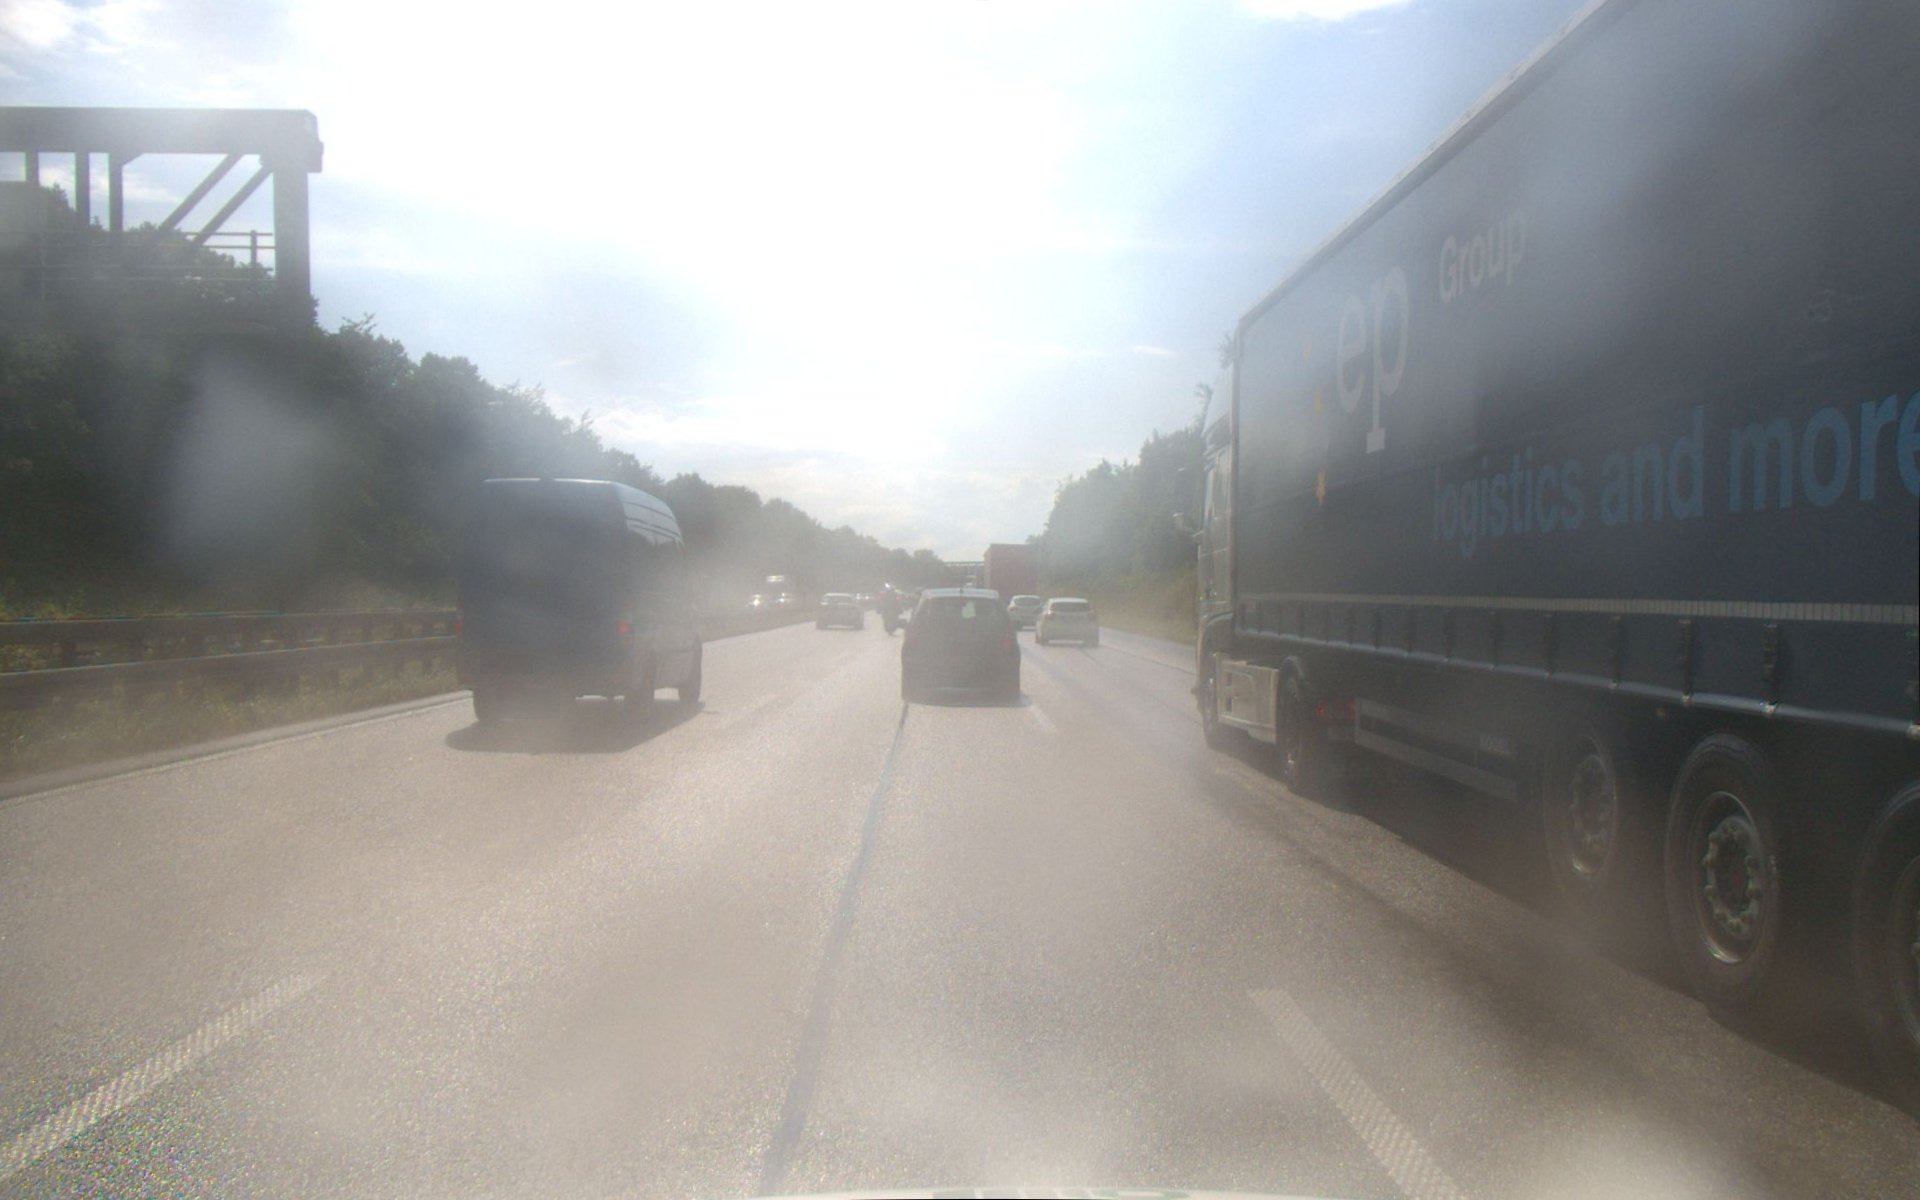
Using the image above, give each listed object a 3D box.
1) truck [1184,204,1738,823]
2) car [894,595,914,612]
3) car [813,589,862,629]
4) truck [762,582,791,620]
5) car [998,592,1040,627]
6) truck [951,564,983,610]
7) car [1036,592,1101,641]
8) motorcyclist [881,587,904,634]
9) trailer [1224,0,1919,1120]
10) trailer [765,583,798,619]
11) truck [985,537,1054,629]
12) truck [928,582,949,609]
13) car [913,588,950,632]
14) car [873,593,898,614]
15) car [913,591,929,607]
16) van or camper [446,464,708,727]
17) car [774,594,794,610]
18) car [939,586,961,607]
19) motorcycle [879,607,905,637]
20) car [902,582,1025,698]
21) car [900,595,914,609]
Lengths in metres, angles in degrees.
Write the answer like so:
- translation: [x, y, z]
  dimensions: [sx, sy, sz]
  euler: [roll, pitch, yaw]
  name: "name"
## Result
- translation: [3.822, -0.565, 14.611]
  dimensions: [2.554, 4.065, 7.289]
  euler: [1, 0, -1]
  name: "truck"
- translation: [-5.030, 0.322, 149.313]
  dimensions: [1.715, 1.482, 3.389]
  euler: [1, 0, -1]
  name: "car"
- translation: [-5.126, 0.376, 69.373]
  dimensions: [1.817, 1.578, 3.484]
  euler: [1, 0, -1]
  name: "car"
- translation: [-22.407, 0.122, 202.542]
  dimensions: [2.805, 4.449, 6.867]
  euler: [1, 0, -1]
  name: "truck"
- translation: [2.553, 0.418, 72.143]
  dimensions: [1.646, 1.467, 3.904]
  euler: [1, 0, -1]
  name: "car"
- translation: [0.784, -1.318, 173.405]
  dimensions: [3.189, 4.558, 12.422]
  euler: [1, 0, 1]
  name: "truck"
- translation: [3.326, 0.491, 51.249]
  dimensions: [1.658, 1.450, 4.219]
  euler: [1, 0, -1]
  name: "car"
- translation: [-2.449, 0.379, 59.894]
  dimensions: [0.785, 1.662, 1.013]
  euler: [1, 0, -1]
  name: "motorcyclist"
- translation: [3.895, -0.579, 8.545]
  dimensions: [2.581, 4.065, 14.061]
  euler: [1, 0, -1]
  name: "trailer"
- translation: [-22.505, 0.135, 209.098]
  dimensions: [2.805, 4.449, 14.089]
  euler: [1, 0, -1]
  name: "trailer"
- translation: [3.274, -0.887, 96.378]
  dimensions: [3.574, 4.803, 16.780]
  euler: [1, 0, 1]
  name: "truck"
- translation: [-2.343, -0.466, 179.931]
  dimensions: [2.147, 2.926, 4.848]
  euler: [1, 0, -1]
  name: "truck"
- translation: [-1.184, 0.400, 68.829]
  dimensions: [1.500, 1.777, 3.484]
  euler: [1, 0, -1]
  name: "car"
- translation: [-5.512, 0.258, 122.670]
  dimensions: [1.715, 1.482, 3.389]
  euler: [1, 0, -1]
  name: "car"
- translation: [-5.102, -0.183, 216.226]
  dimensions: [1.953, 2.049, 3.999]
  euler: [0, 0, -1]
  name: "car"
- translation: [-4.416, -0.040, 20.023]
  dimensions: [1.953, 2.715, 5.383]
  euler: [1, 0, -1]
  name: "van or camper"
- translation: [-19.399, 0.258, 182.342]
  dimensions: [1.791, 1.692, 4.630]
  euler: [1, 0, -1]
  name: "car"
- translation: [-0.721, -0.231, 116.271]
  dimensions: [1.521, 1.407, 3.209]
  euler: [1, 0, -1]
  name: "car"
- translation: [-2.445, 0.783, 59.771]
  dimensions: [0.872, 1.018, 2.895]
  euler: [1, 0, -1]
  name: "motorcycle"
- translation: [0.020, 0.560, 24.748]
  dimensions: [1.683, 1.595, 3.484]
  euler: [1, 0, -1]
  name: "car"
- translation: [-5.598, 0.246, 175.499]
  dimensions: [1.455, 1.414, 3.198]
  euler: [1, 0, -1]
  name: "car"
